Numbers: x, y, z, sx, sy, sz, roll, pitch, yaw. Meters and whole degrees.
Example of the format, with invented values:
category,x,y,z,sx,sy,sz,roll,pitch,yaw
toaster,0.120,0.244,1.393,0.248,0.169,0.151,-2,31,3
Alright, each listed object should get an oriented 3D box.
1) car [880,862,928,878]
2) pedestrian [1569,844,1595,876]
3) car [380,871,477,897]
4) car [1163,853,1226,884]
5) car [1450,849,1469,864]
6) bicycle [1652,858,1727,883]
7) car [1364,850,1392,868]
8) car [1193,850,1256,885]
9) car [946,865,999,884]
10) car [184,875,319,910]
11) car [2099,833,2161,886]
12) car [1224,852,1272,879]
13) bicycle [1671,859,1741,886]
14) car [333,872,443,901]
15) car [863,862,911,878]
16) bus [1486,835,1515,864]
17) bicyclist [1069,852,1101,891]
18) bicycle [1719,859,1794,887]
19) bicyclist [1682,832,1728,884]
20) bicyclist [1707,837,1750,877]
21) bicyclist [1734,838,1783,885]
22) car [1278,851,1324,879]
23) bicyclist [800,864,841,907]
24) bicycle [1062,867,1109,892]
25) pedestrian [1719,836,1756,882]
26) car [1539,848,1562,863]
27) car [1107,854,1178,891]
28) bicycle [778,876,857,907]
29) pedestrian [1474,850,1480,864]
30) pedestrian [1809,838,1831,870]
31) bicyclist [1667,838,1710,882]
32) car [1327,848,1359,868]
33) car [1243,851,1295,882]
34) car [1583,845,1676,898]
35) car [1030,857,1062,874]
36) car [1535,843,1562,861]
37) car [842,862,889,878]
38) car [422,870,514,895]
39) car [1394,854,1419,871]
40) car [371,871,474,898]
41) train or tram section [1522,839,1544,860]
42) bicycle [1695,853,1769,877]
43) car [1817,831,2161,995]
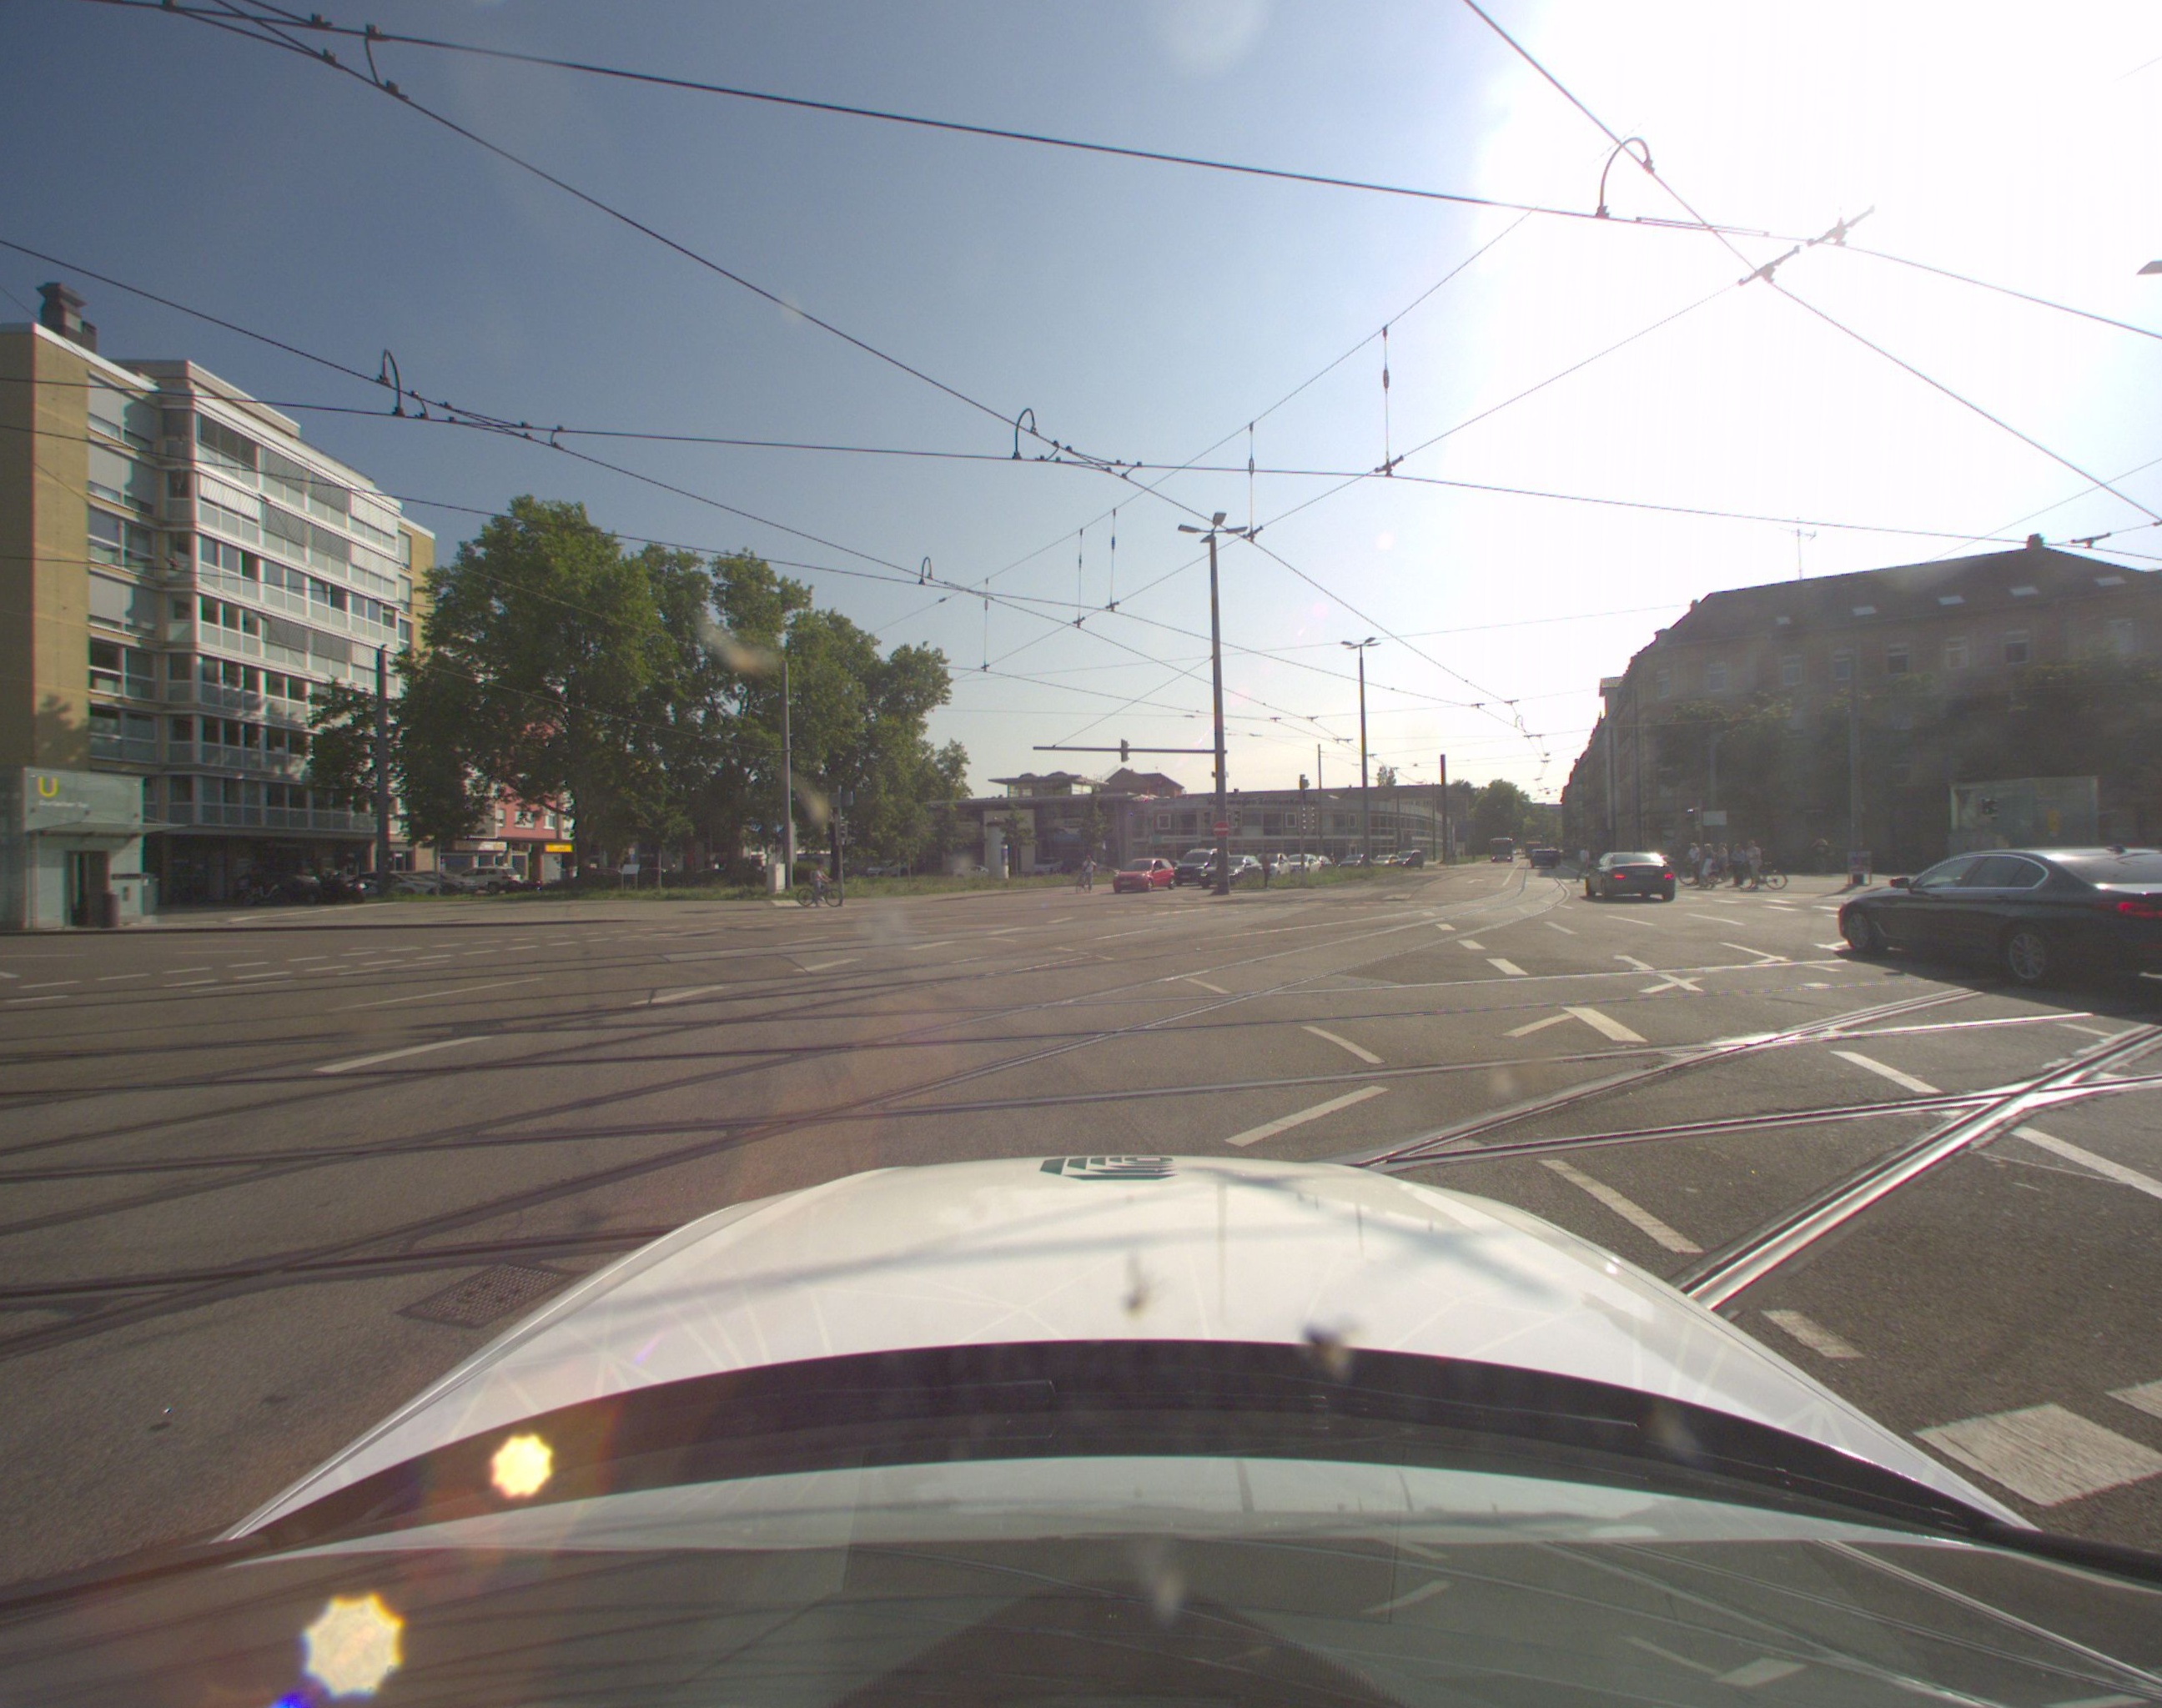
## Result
category,x,y,z,sx,sy,sz,roll,pitch,yaw
car,-17.815,1.587,82.162,1.684,1.522,4.541,-1,0,45
pedestrian,24.292,0.296,39.508,0.775,1.503,0.710,-1,0,-2
car,-37.467,1.692,46.845,4.150,1.354,1.575,-1,0,-6
car,6.038,0.749,42.915,1.942,1.476,4.024,-4,-1,28
car,42.773,0.265,91.980,1.599,1.476,4.025,-4,-1,29
bicycle,25.717,0.685,34.436,2.619,0.964,1.089,-1,0,-11
car,26.191,0.405,71.739,1.599,1.476,4.025,-4,-1,29
car,6.715,0.609,37.856,1.599,1.476,4.024,-4,-1,28
car,-9.189,1.714,69.171,4.053,1.522,1.713,-1,0,18
car,-36.482,1.673,35.910,4.150,1.354,1.479,-1,0,-6
car,39.201,0.157,29.095,4.266,1.859,1.946,-1,0,-15
car,10.232,0.673,49.743,1.599,1.476,4.025,-4,-1,29
bicycle,24.801,0.702,32.305,2.630,0.964,1.084,-1,0,-24
car,-35.822,1.647,42.165,4.150,1.354,1.575,-1,0,-6
car,-19.823,1.587,83.437,1.684,1.522,4.541,-1,0,45
bus,56.386,-0.569,109.850,2.894,3.619,16.844,-1,0,26
bicyclist,0.188,0.794,37.345,0.948,1.748,1.173,-1,0,29
bicycle,25.231,0.687,30.422,2.630,0.964,1.084,-1,0,-24
bicyclist,24.746,0.159,32.293,0.938,2.024,1.084,-1,0,-24
bicyclist,28.121,0.112,35.403,0.934,1.680,1.089,-1,0,-10
bicyclist,25.344,0.275,30.475,0.938,1.708,1.084,-1,0,-24
car,13.019,0.618,48.126,1.599,1.476,4.025,-4,-1,29
bicyclist,-9.612,1.152,30.083,1.159,1.527,0.960,1,0,-1
bicycle,0.225,1.140,37.401,0.948,1.057,2.624,-1,0,29
pedestrian,26.701,0.204,33.121,0.930,1.797,0.852,-1,0,-28
car,47.864,0.123,83.014,1.808,1.428,4.439,-2,0,28
car,2.816,0.809,36.393,1.599,1.476,4.024,-4,-1,28
bicycle,-9.704,1.391,30.076,2.591,1.057,0.960,1,-1,-1
pedestrian,48.586,0.353,99.940,0.589,1.630,0.641,-1,0,30
pedestrian,34.812,0.013,38.356,0.670,1.471,0.541,-1,-1,-31
bicyclist,25.692,0.264,34.432,0.934,1.800,1.089,-1,0,-10
car,21.092,0.323,65.585,1.599,1.476,4.025,-4,-1,29
car,10.079,0.648,43.495,1.599,1.476,4.024,-4,-1,28
car,16.571,0.497,24.788,1.667,1.442,4.398,-2,-1,25
car,-3.306,1.126,78.029,1.686,1.522,4.118,-1,0,18
car,38.715,-0.193,67.455,1.808,1.428,4.440,-2,0,29
car,-22.900,1.668,86.609,1.684,1.522,4.541,-1,0,45
car,-36.818,1.687,48.967,4.150,1.354,1.575,-1,0,-6
car,30.741,0.751,76.808,1.599,1.476,4.025,-4,-1,29
car,-36.207,1.664,44.854,4.150,1.354,1.575,-1,0,-6
train or tram section,83.576,-0.889,150.645,2.630,3.699,10.650,-2,0,25
bicycle,28.320,0.474,35.445,2.619,0.964,1.089,-1,0,-11
car,10.929,0.504,9.516,1.669,1.491,4.695,-1,0,18
